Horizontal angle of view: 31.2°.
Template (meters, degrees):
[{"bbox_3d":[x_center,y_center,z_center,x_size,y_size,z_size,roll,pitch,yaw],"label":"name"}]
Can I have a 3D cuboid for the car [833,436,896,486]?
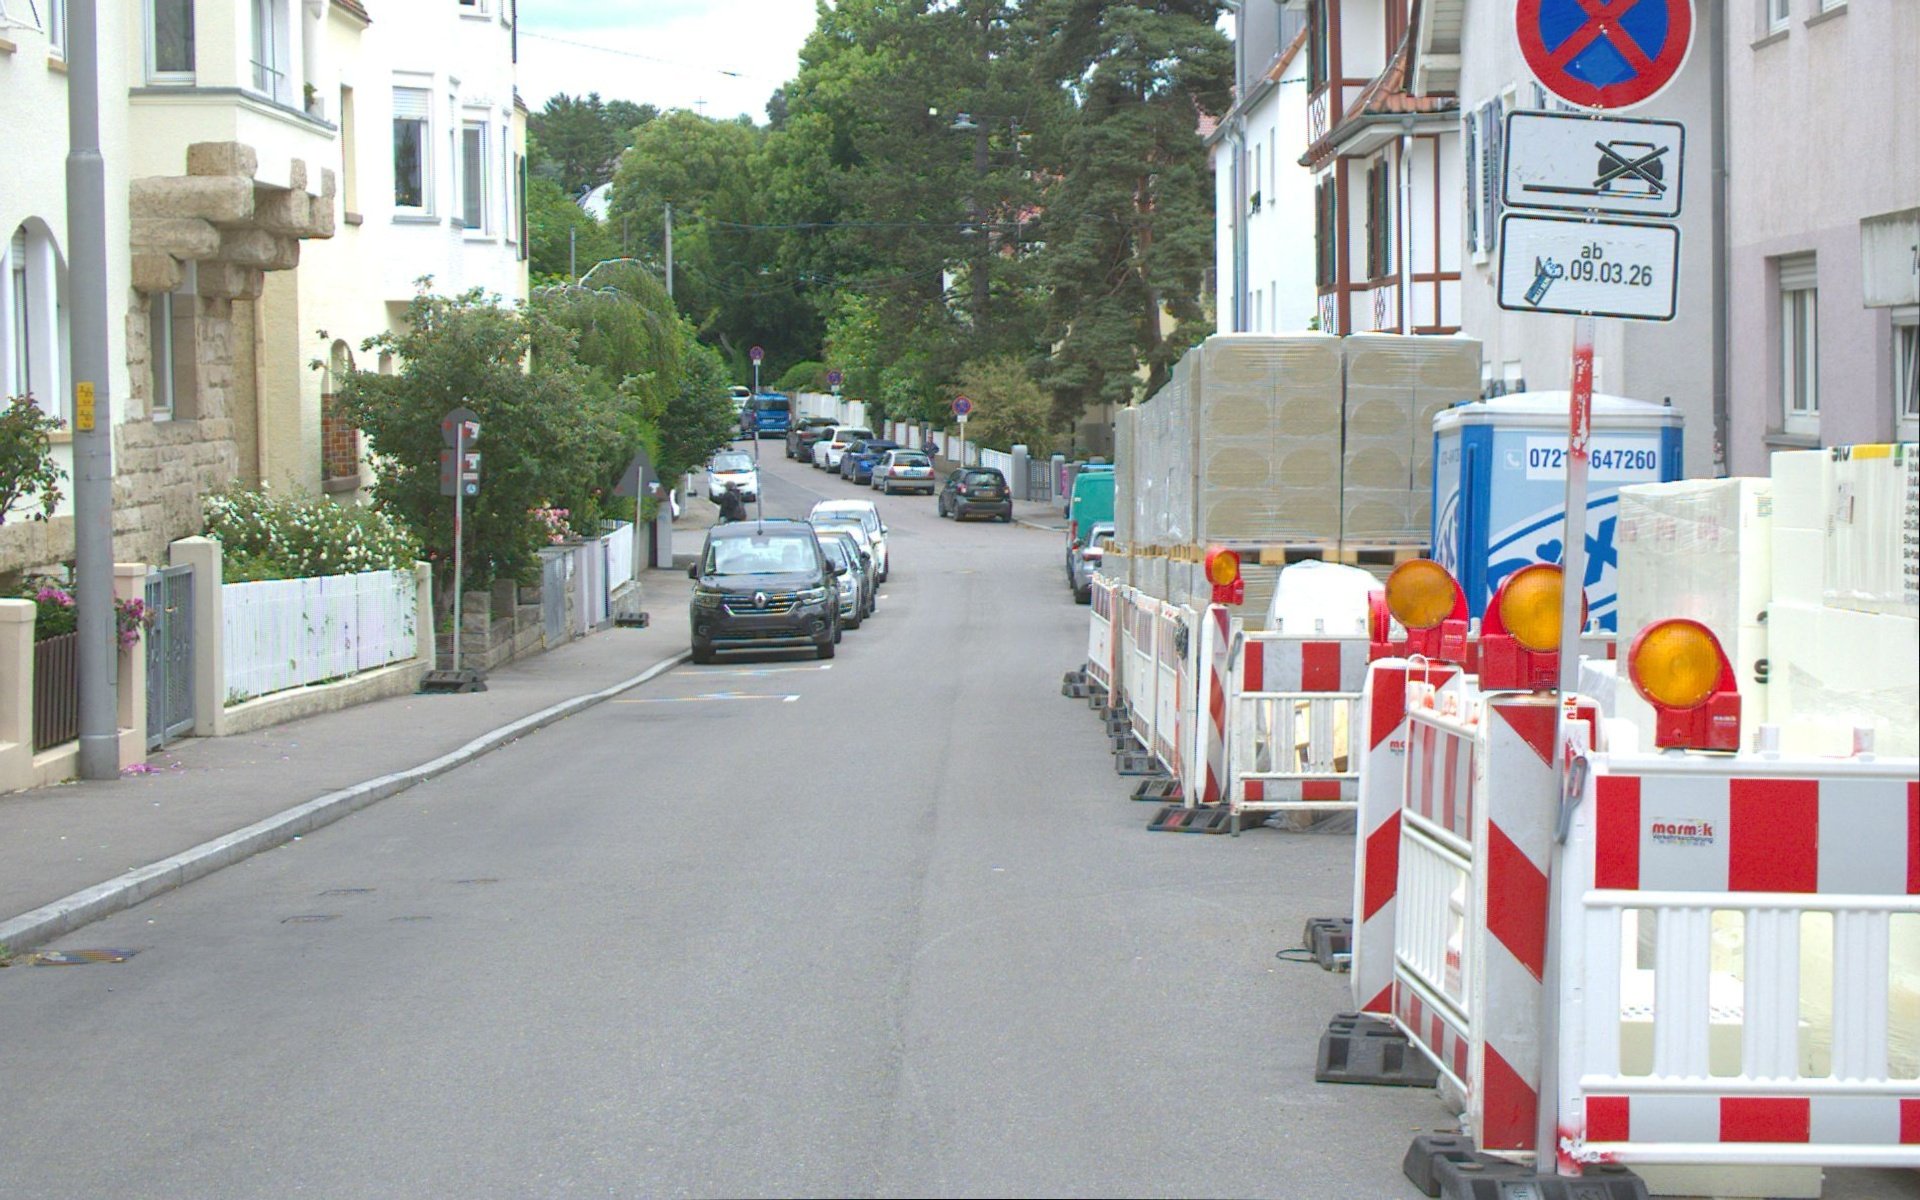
[{"bbox_3d":[-3.248,-4.713,116.419,1.634,1.478,3.532,1,5,-9],"label":"car"}]

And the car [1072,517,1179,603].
[{"bbox_3d":[3.009,-0.762,63.275,1.725,1.443,3.881,0,3,-1],"label":"car"}]

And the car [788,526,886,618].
[{"bbox_3d":[-2.115,-0.513,59.793,1.596,1.473,3.992,-1,2,-1],"label":"car"}]

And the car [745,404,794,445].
[{"bbox_3d":[-7.923,-7.283,142.739,1.634,1.532,3.532,1,5,-9],"label":"car"}]

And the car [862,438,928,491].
[{"bbox_3d":[-2.125,-4.415,111.798,1.634,1.478,3.532,1,5,-9],"label":"car"}]

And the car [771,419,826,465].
[{"bbox_3d":[-6.034,-5.908,128.255,1.634,1.532,3.532,1,5,-9],"label":"car"}]

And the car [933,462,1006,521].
[{"bbox_3d":[0.255,-3.168,99.928,1.634,1.478,3.532,1,5,-8],"label":"car"}]

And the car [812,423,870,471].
[{"bbox_3d":[-4.264,-5.462,122.504,1.634,1.532,3.532,1,5,-9],"label":"car"}]

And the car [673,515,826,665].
[{"bbox_3d":[-2.712,-0.182,44.670,1.844,1.809,4.545,-1,2,-3],"label":"car"}]

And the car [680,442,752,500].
[{"bbox_3d":[-7.784,-4.130,109.284,1.672,1.651,3.865,-2,5,-13],"label":"car"}]

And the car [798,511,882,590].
[{"bbox_3d":[-2.394,-1.022,69.412,1.596,1.408,3.663,-1,3,-1],"label":"car"}]

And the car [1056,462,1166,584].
[{"bbox_3d":[3.024,-1.589,69.661,1.980,2.354,4.278,0,3,-1],"label":"car"}]

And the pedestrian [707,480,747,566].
[{"bbox_3d":[-5.245,-1.738,77.368,0.791,1.926,0.919,1,2,3],"label":"pedestrian"}]

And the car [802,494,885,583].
[{"bbox_3d":[-2.474,-1.340,73.512,1.672,1.651,3.864,-1,5,-1],"label":"car"}]

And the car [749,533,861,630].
[{"bbox_3d":[-2.450,-0.328,54.971,1.642,1.412,3.984,-1,2,-1],"label":"car"}]

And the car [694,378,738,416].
[{"bbox_3d":[-10.848,-9.023,152.857,1.634,1.532,3.532,1,5,-9],"label":"car"}]
